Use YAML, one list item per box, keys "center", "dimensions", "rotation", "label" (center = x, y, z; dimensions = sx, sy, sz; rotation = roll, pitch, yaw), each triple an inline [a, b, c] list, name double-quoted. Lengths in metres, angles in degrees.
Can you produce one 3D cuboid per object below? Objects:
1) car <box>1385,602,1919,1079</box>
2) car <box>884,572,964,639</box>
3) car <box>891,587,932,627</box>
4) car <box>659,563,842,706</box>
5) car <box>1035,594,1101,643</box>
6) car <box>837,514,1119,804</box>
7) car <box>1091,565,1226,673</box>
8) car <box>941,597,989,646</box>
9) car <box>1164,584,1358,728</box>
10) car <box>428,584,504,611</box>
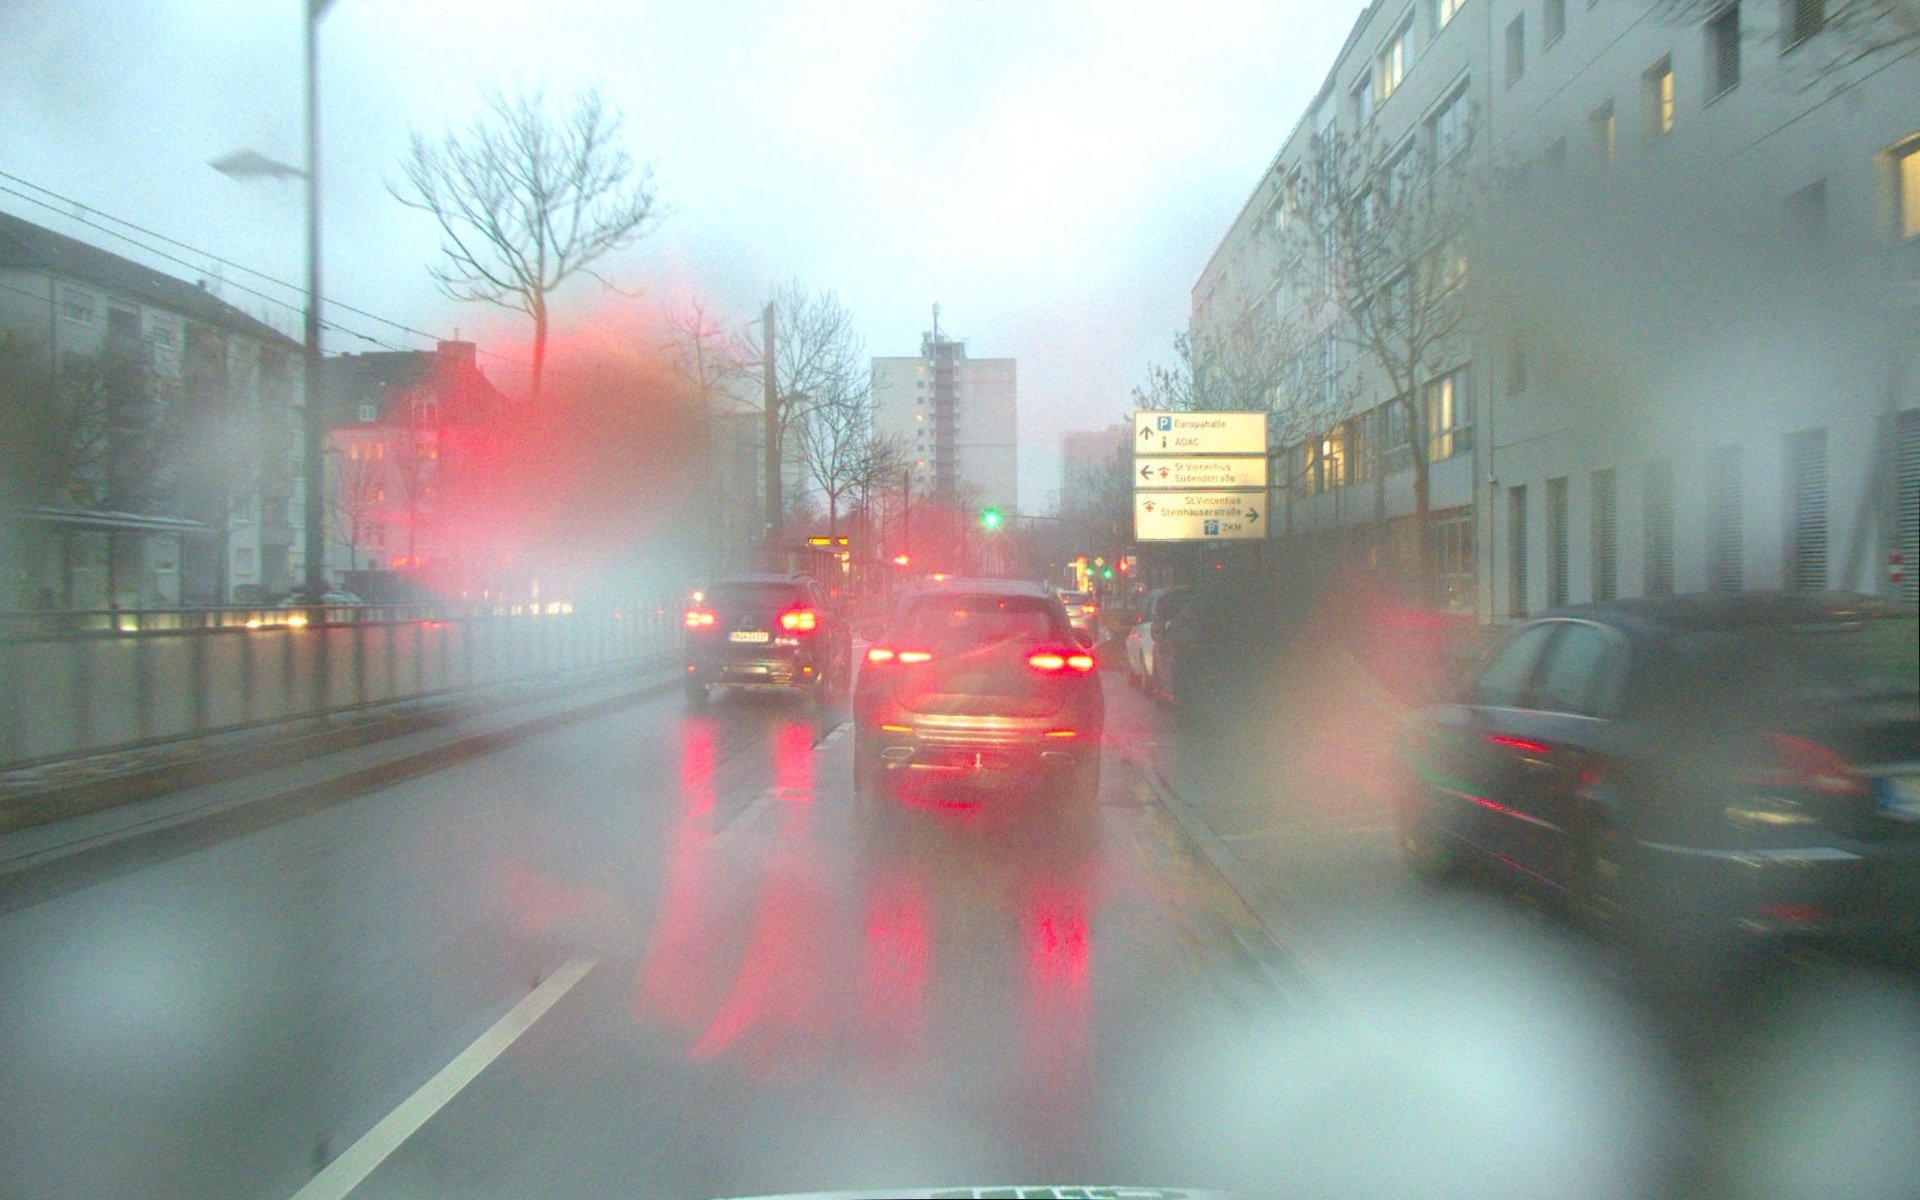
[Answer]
- center: [3.171, 0.775, 7.248]
  dimensions: [1.563, 1.465, 4.228]
  rotation: [1, -1, 1]
  label: "car"
- center: [-0.922, 0.165, 44.160]
  dimensions: [1.952, 1.671, 4.022]
  rotation: [1, -1, 1]
  label: "car"
- center: [-2.567, 0.335, 88.501]
  dimensions: [1.912, 2.069, 4.884]
  rotation: [0, 0, 2]
  label: "car"
- center: [-2.758, 0.446, 22.704]
  dimensions: [1.953, 1.742, 4.324]
  rotation: [1, -1, 0]
  label: "car"
- center: [3.306, 0.547, 51.247]
  dimensions: [1.848, 1.377, 4.102]
  rotation: [1, 1, 1]
  label: "car"
- center: [0.080, 0.438, 13.690]
  dimensions: [1.953, 2.010, 4.067]
  rotation: [1, -1, -2]
  label: "car"
- center: [2.847, 0.230, 24.316]
  dimensions: [1.558, 1.419, 3.487]
  rotation: [-2, 1, 1]
  label: "car"
- center: [0.189, 0.798, 63.074]
  dimensions: [1.757, 1.780, 3.625]
  rotation: [1, -1, 0]
  label: "car"
- center: [3.344, 0.553, 19.055]
  dimensions: [1.717, 1.427, 4.252]
  rotation: [1, 1, 4]
  label: "car"
- center: [-27.744, -0.139, 92.938]
  dimensions: [3.723, 1.390, 1.697]
  rotation: [1, -1, -4]
  label: "car"
